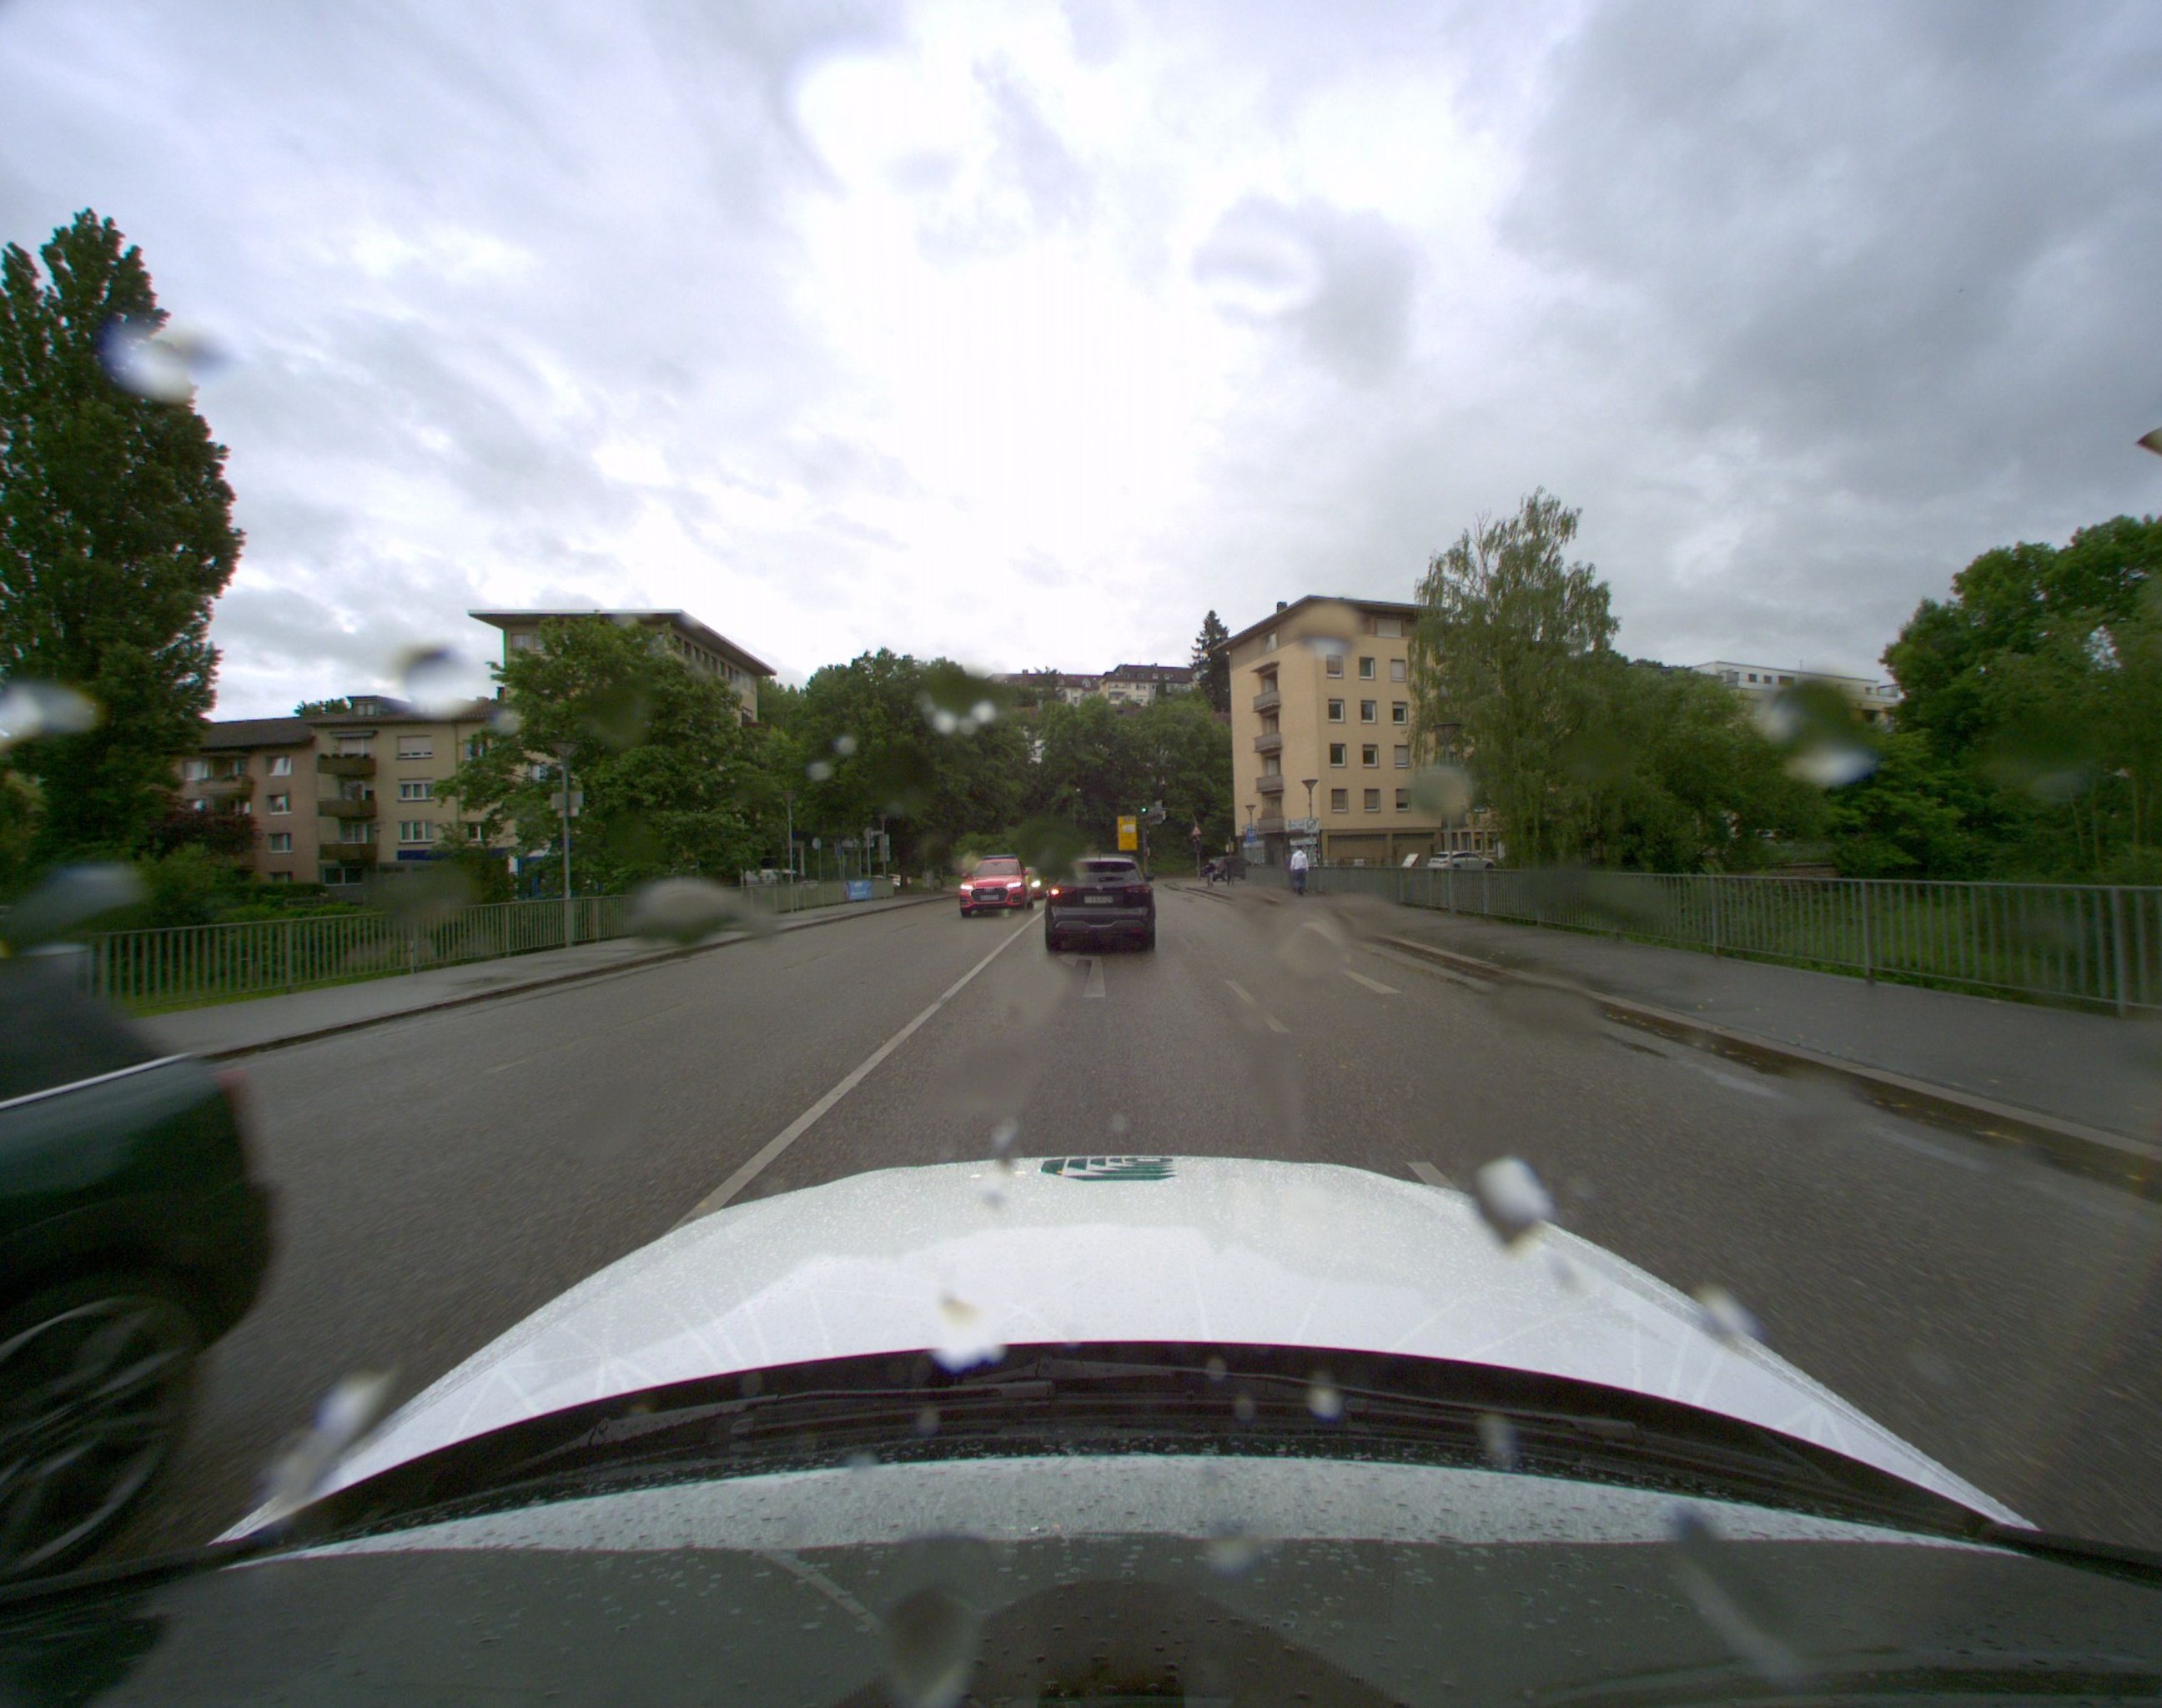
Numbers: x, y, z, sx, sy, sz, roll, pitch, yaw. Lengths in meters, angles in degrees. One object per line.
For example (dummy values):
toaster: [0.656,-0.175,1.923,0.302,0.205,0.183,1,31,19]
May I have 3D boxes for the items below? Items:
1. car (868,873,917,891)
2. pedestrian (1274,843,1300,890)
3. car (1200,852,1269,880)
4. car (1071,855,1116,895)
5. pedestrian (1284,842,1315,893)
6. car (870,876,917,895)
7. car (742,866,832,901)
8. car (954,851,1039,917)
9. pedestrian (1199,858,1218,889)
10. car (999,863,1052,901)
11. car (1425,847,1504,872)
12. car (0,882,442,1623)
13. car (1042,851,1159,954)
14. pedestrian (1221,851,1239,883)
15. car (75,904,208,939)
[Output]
car: [-17.577,2.609,76.202,4.066,1.416,1.715,-3,-1,1]
pedestrian: [8.066,0.479,31.868,0.758,1.809,0.781,-3,-1,1]
car: [10.688,0.830,56.653,4.388,1.649,1.868,-3,-1,-25]
car: [0.574,0.859,34.811,1.804,1.603,4.001,0,0,1]
pedestrian: [7.873,0.486,29.368,0.777,1.752,1.061,-2,-1,1]
car: [-16.219,2.721,70.418,3.666,1.420,1.629,-2,-1,-3]
car: [-17.734,1.746,49.308,4.738,1.854,1.995,-2,1,-8]
car: [-2.457,0.841,24.722,1.881,1.735,4.373,-3,0,2]
pedestrian: [7.077,1.076,45.115,0.859,1.619,0.840,-3,-1,1]
car: [-2.330,1.139,35.066,1.775,1.402,4.220,-3,0,2]
car: [24.241,0.335,51.479,4.447,1.376,1.808,-2,2,-15]
car: [-3.074,0.840,0.709,1.739,1.439,4.002,-2,0,2]
car: [0.360,0.753,14.778,1.804,1.603,4.001,-1,0,1]
pedestrian: [8.106,0.705,44.309,0.758,1.677,0.781,-4,0,1]
car: [-53.178,3.799,46.195,4.738,1.653,1.995,-2,1,-8]
